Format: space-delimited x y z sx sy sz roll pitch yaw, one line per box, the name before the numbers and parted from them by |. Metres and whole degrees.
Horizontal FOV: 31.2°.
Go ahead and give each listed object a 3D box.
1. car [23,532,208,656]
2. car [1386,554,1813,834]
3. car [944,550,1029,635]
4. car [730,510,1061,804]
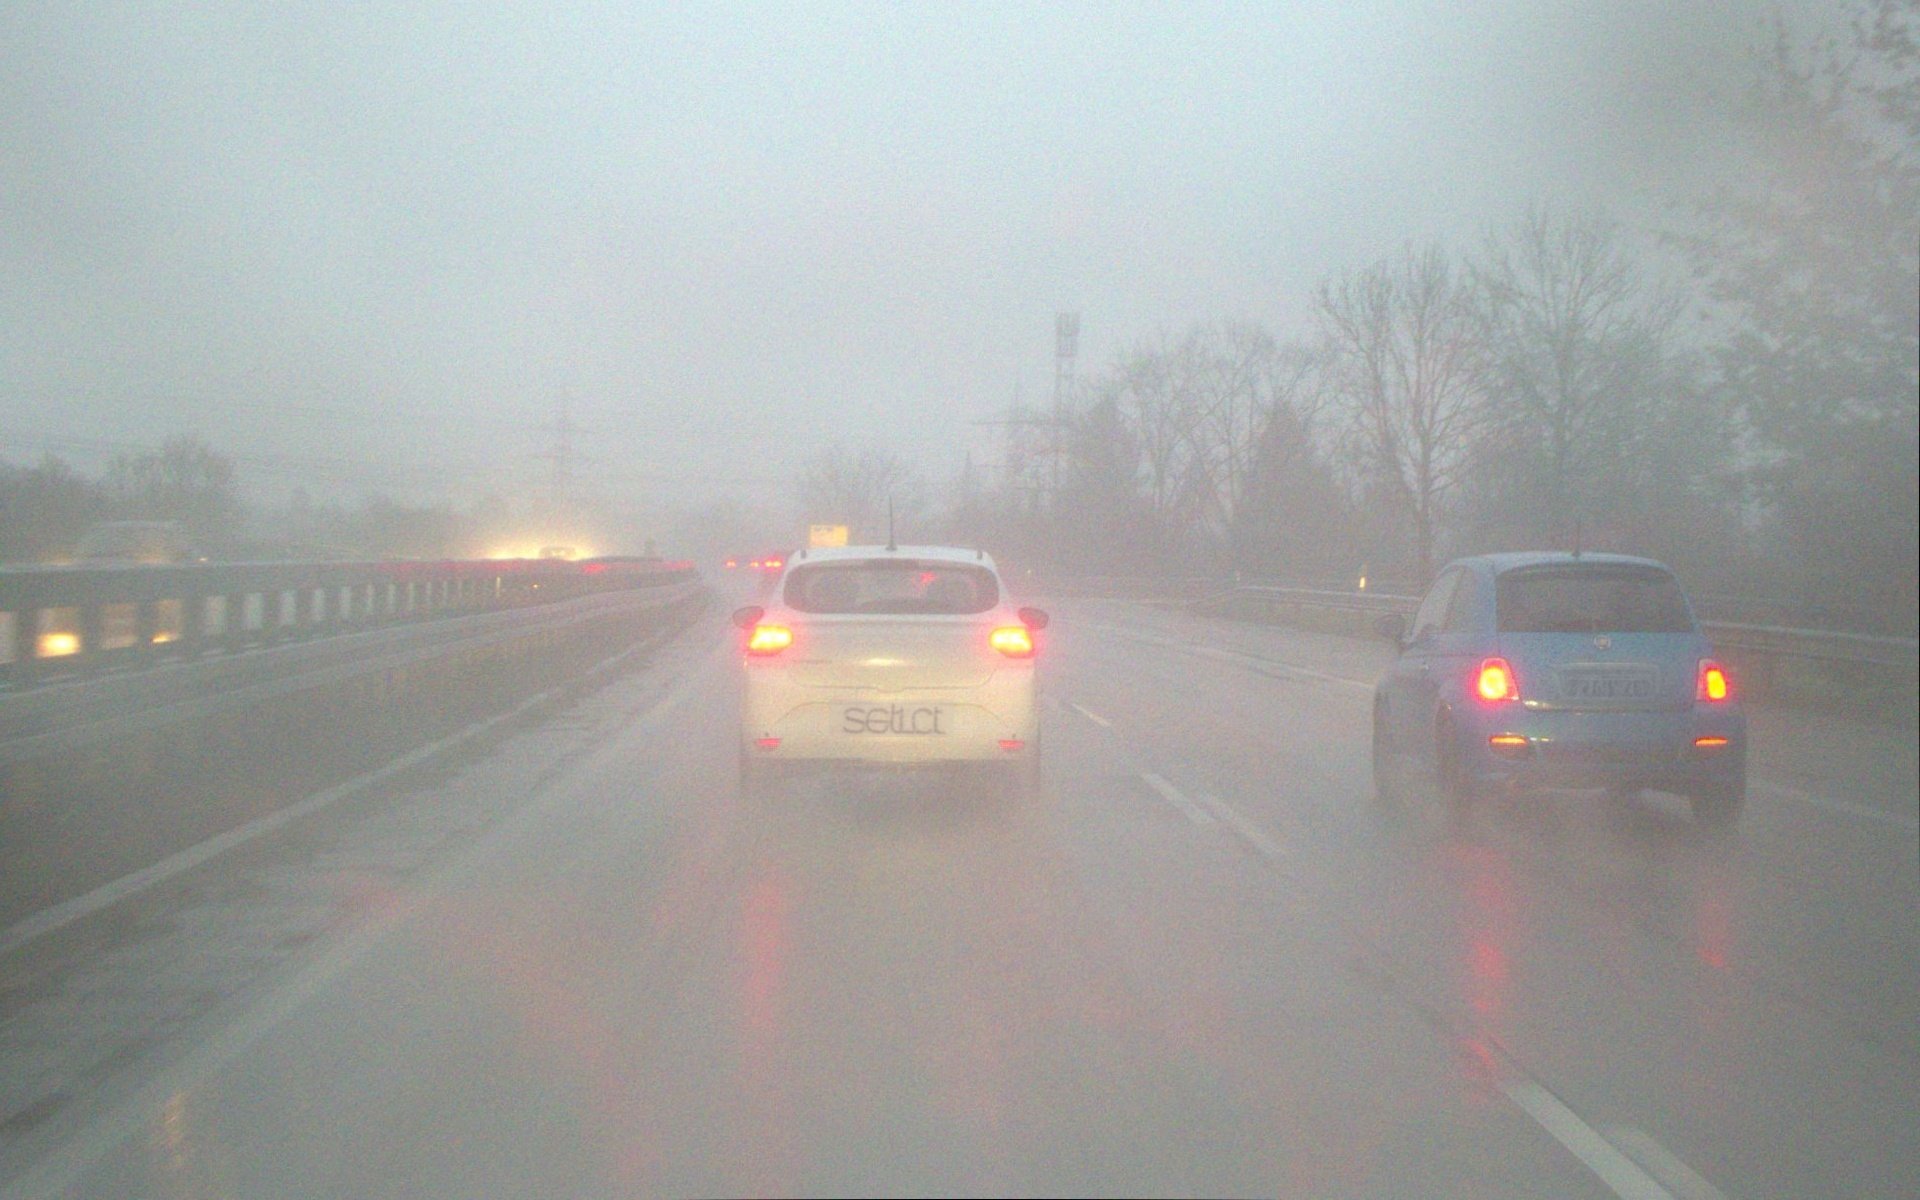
car | -13.085 -0.081 53.506 1.745 1.827 4.135 1 0 1
car | 3.709 0.479 20.646 1.845 1.448 4.149 1 1 1
car | 0.652 -0.173 86.193 1.873 1.897 4.000 6 0 0
car | -0.324 0.281 21.276 1.845 1.630 3.768 1 1 1
